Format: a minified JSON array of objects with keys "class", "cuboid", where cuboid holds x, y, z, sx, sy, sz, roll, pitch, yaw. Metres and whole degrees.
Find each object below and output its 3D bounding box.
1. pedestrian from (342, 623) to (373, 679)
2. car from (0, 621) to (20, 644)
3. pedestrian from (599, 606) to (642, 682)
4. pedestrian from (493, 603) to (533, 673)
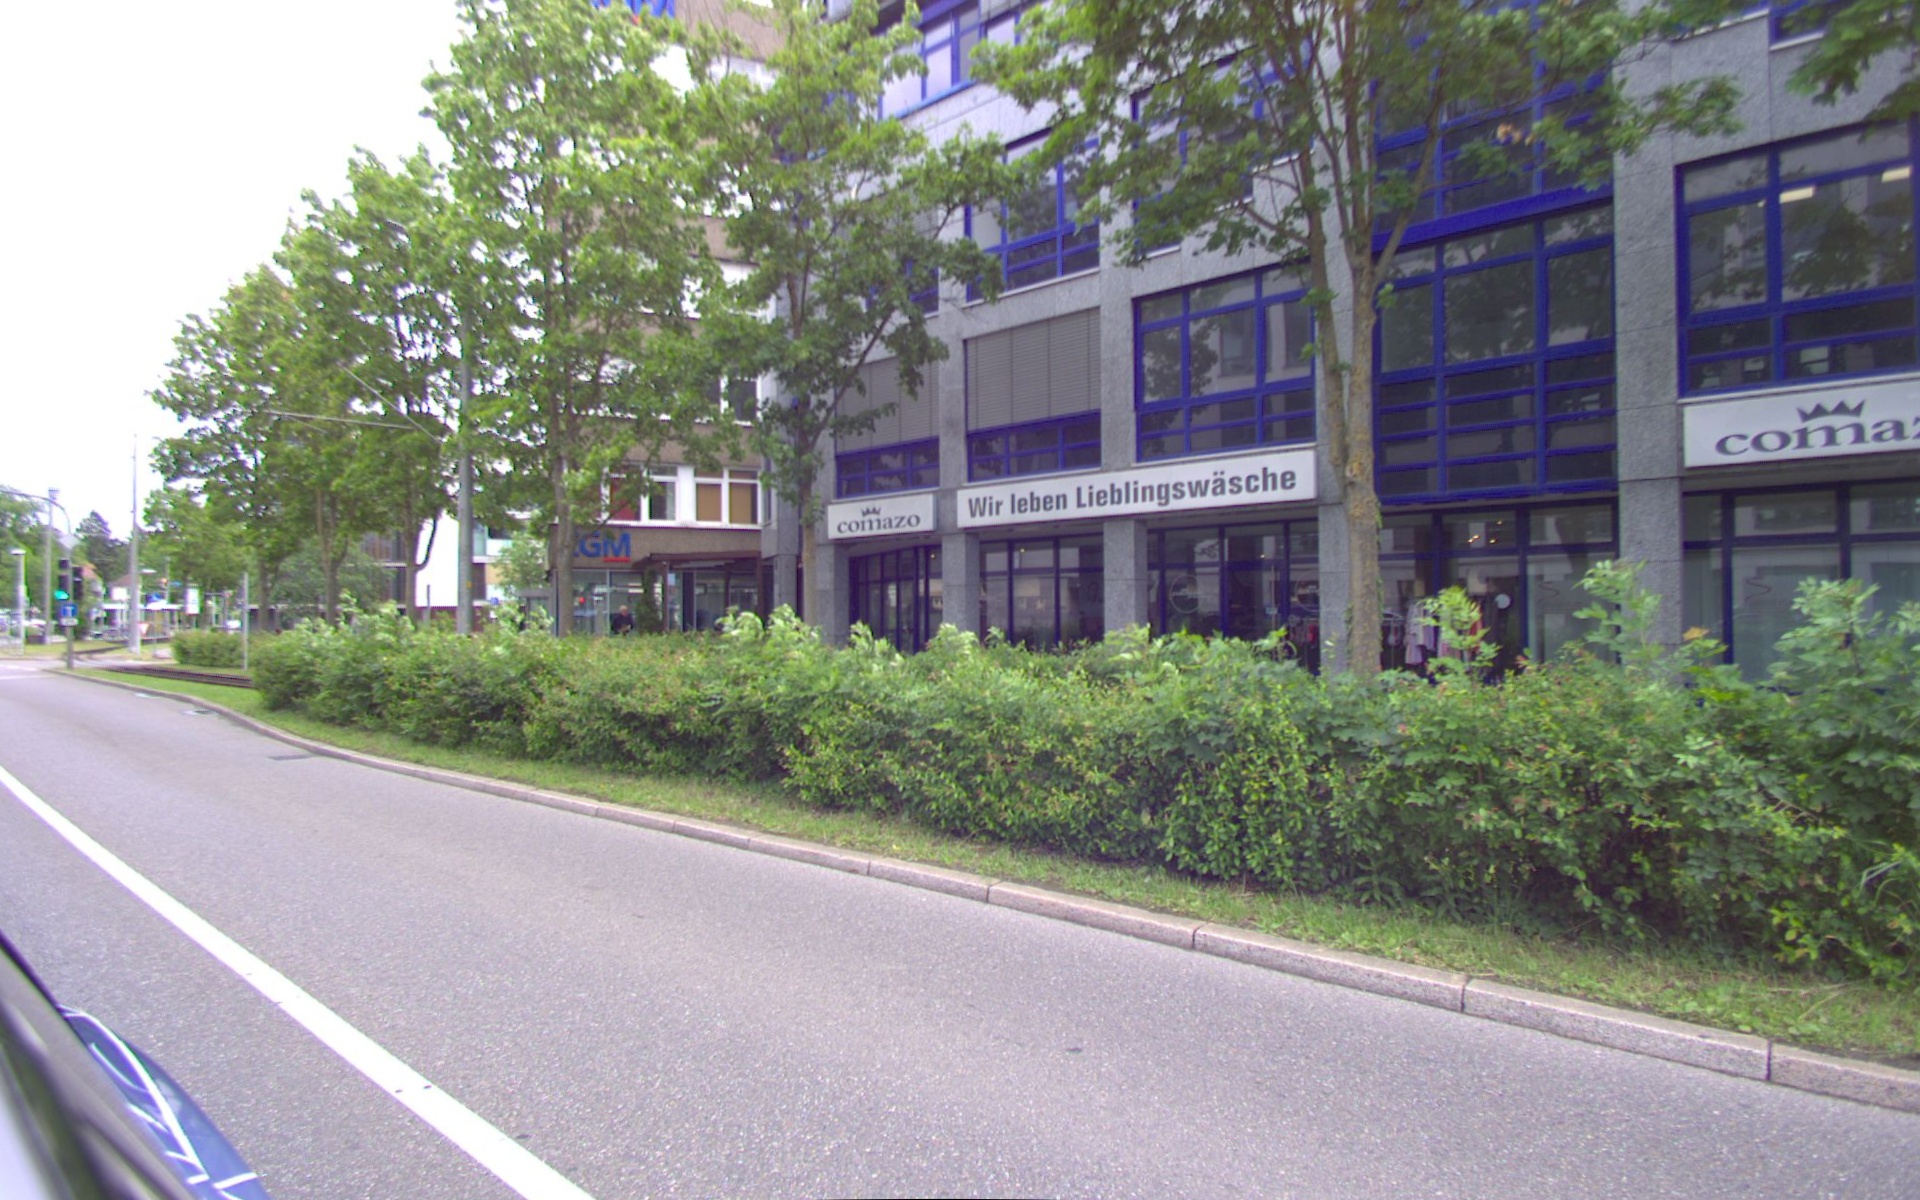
[{"class":"pedestrian","cuboid":[-20.170,1.690,33.871,0.730,1.819,0.672,-1,0,37]},{"class":"car","cuboid":[-89.653,3.018,94.298,1.965,2.029,4.013,0,0,-25]},{"class":"pedestrian","cuboid":[-8.711,1.121,25.972,0.731,1.908,0.766,-1,0,40]},{"class":"pedestrian","cuboid":[-12.703,1.071,28.757,0.731,1.938,0.805,-1,0,40]}]
